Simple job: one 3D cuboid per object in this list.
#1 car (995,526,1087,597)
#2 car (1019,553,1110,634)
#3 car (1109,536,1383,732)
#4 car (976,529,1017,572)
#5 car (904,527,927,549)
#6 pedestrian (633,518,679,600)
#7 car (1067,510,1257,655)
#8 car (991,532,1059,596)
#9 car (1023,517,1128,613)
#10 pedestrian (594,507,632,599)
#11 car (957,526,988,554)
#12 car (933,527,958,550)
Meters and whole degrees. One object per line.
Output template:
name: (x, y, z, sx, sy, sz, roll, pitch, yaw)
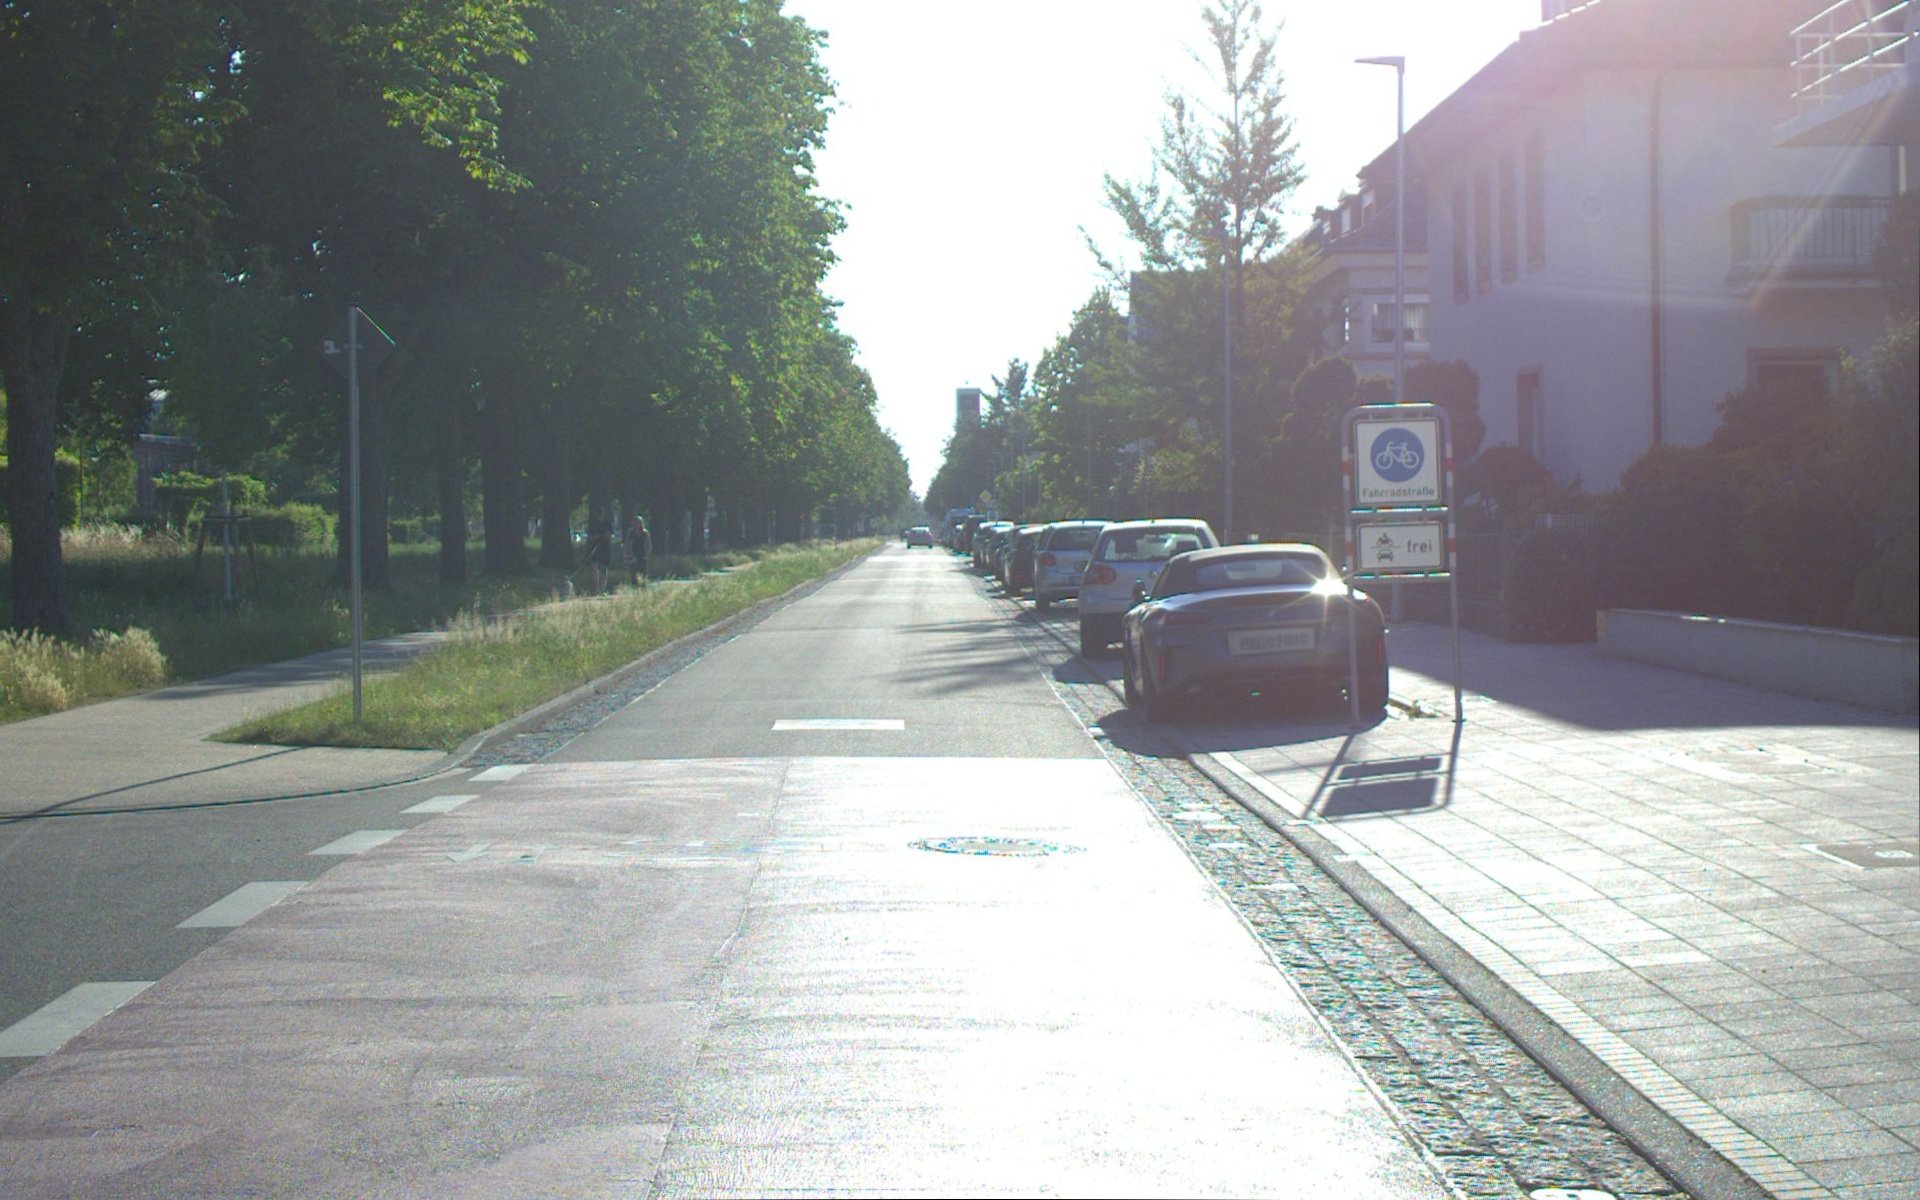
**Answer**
car: (1.752, -0.848, 75.412, 1.736, 1.444, 4.197, -2, 1, -2)
car: (2.087, -0.146, 67.711, 1.658, 1.488, 3.716, -2, 1, 3)
car: (2.225, 0.215, 27.759, 1.774, 1.284, 4.273, -3, 2, 0)
car: (1.341, -1.838, 126.606, 1.498, 1.561, 3.267, -1, 1, 1)
car: (-3.150, -4.427, 244.218, 1.652, 1.536, 3.267, 1, 1, 0)
pedestrian: (-6.070, -0.821, 68.731, 0.783, 1.609, 0.952, 0, 1, 3)
car: (2.249, -0.233, 39.145, 1.744, 1.469, 3.923, -3, 1, -2)
car: (1.569, -0.905, 84.311, 1.592, 1.504, 3.592, -1, 1, 0)
car: (1.960, -0.622, 58.996, 1.627, 1.499, 3.633, -2, 2, 0)
pedestrian: (-6.921, -0.943, 68.623, 0.624, 1.824, 0.886, 0, 1, 3)
car: (0.700, -3.290, 189.043, 1.652, 1.536, 3.267, 1, 1, 1)
car: (-0.966, -4.196, 233.165, 1.652, 1.536, 3.267, 1, 1, 1)
